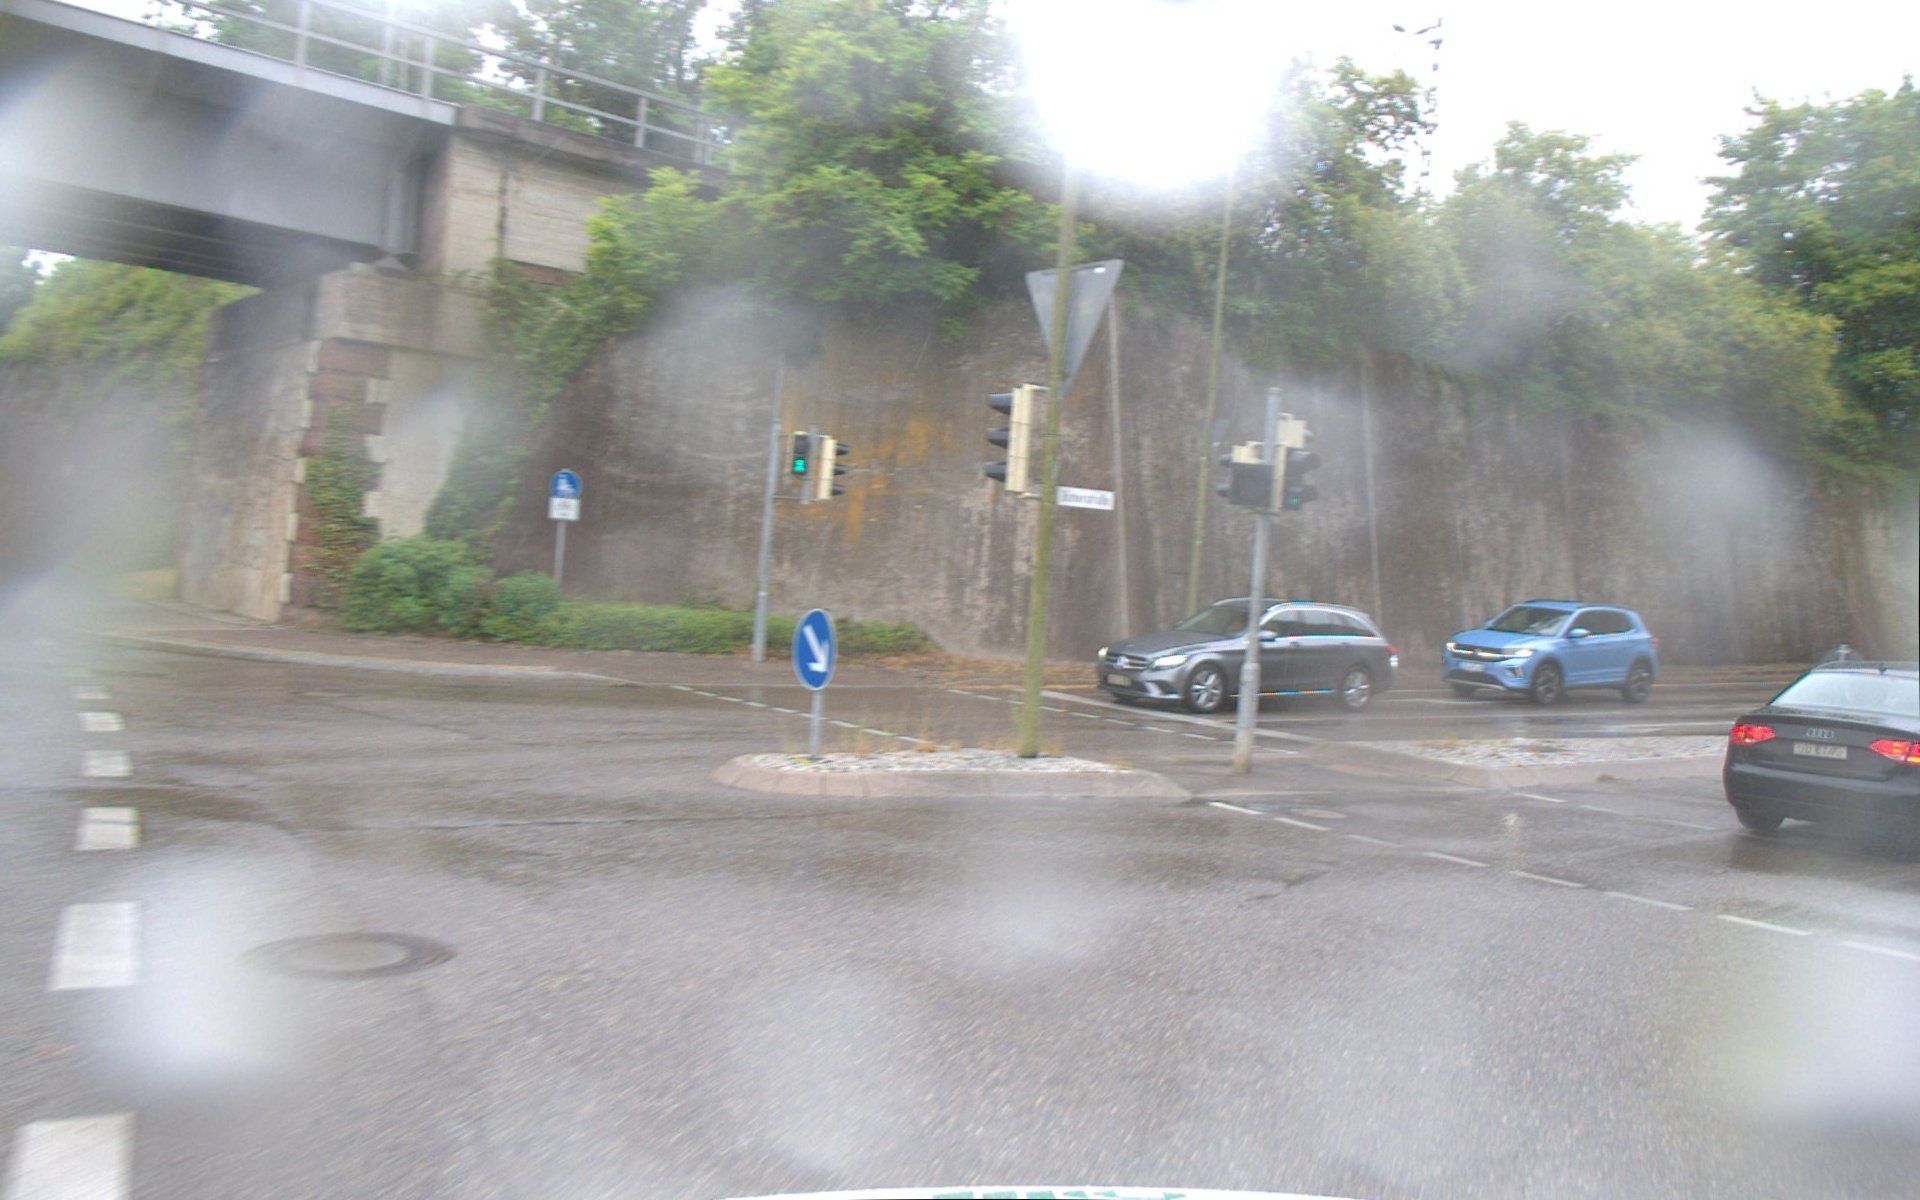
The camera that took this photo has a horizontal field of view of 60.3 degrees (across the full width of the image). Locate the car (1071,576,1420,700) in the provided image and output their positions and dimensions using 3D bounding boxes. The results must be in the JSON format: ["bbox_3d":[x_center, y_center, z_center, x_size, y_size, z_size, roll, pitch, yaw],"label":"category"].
[{"bbox_3d":[3.998,0.524,22.869,4.670,1.529,1.977,2,0,-33],"label":"car"}]

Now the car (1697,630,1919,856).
[{"bbox_3d":[7.827,1.057,13.469,4.173,1.518,1.869,2,0,-43],"label":"car"}]

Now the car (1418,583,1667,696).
[{"bbox_3d":[9.512,0.647,26.929,4.001,1.686,1.799,2,0,-34],"label":"car"}]
